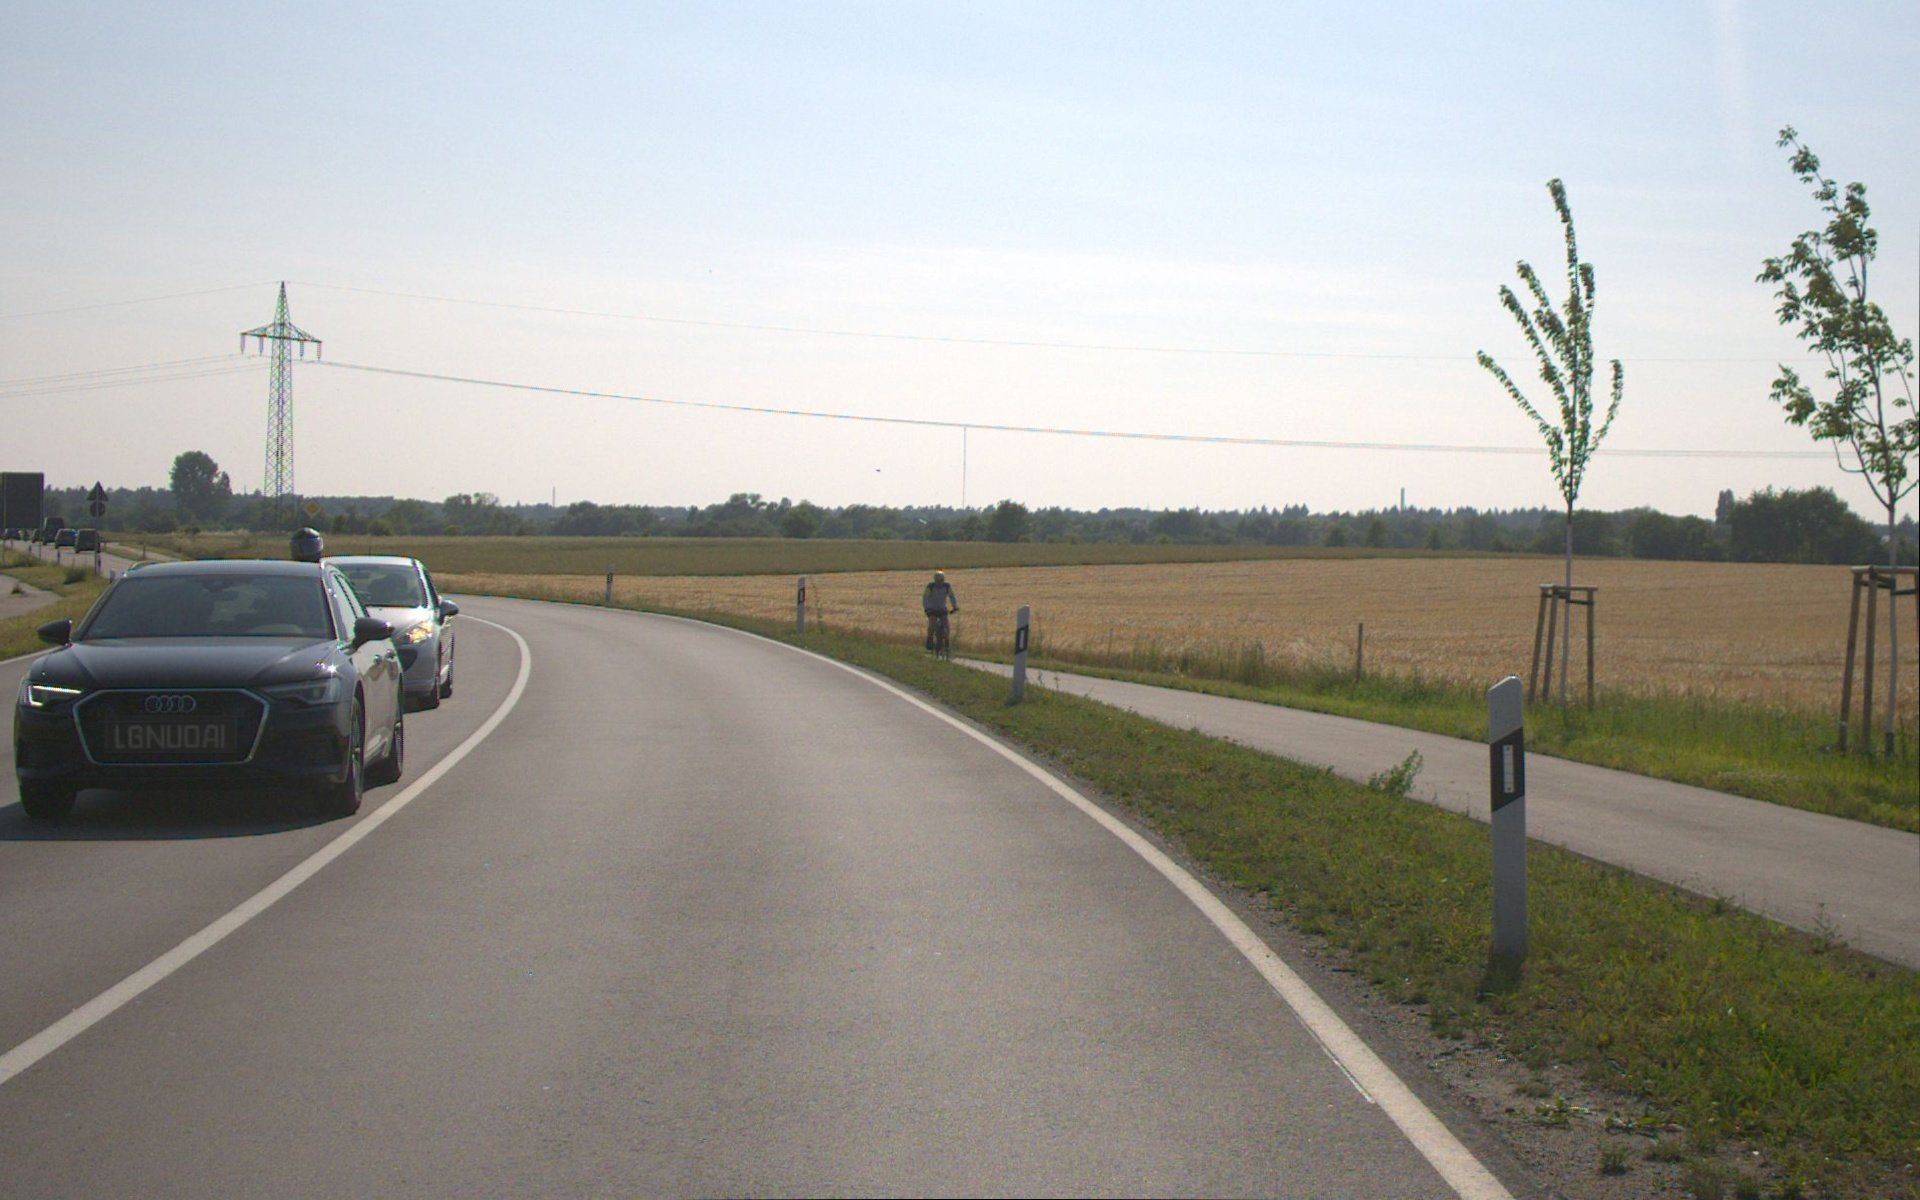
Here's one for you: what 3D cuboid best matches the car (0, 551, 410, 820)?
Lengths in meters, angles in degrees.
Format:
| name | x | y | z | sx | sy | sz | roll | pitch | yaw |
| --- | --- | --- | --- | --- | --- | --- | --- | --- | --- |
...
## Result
| name | x | y | z | sx | sy | sz | roll | pitch | yaw |
| --- | --- | --- | --- | --- | --- | --- | --- | --- | --- |
| car | -4.461 | 0.430 | 20.786 | 1.890 | 1.431 | 4.798 | 0 | 1 | -5 |

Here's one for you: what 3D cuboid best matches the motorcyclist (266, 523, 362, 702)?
| name | x | y | z | sx | sy | sz | roll | pitch | yaw |
| --- | --- | --- | --- | --- | --- | --- | --- | --- | --- |
| motorcyclist | -5.454 | 0.096 | 29.063 | 0.677 | 1.490 | 0.847 | 0 | 1 | -3 |

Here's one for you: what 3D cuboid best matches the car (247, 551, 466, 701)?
| name | x | y | z | sx | sy | sz | roll | pitch | yaw |
| --- | --- | --- | --- | --- | --- | --- | --- | --- | --- |
| car | -5.967 | 0.217 | 34.365 | 1.686 | 1.398 | 4.001 | 0 | 1 | -3 |

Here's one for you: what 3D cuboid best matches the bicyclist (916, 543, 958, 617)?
| name | x | y | z | sx | sy | sz | roll | pitch | yaw |
| --- | --- | --- | --- | --- | --- | --- | --- | --- | --- |
| bicyclist | -0.464 | -0.412 | 69.206 | 0.637 | 1.452 | 0.817 | 3 | 0 | -12 |

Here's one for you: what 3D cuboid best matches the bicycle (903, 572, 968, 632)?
| name | x | y | z | sx | sy | sz | roll | pitch | yaw |
| --- | --- | --- | --- | --- | --- | --- | --- | --- | --- |
| bicycle | -0.504 | 0.036 | 69.226 | 0.845 | 1.138 | 2.207 | 3 | 0 | -12 |
